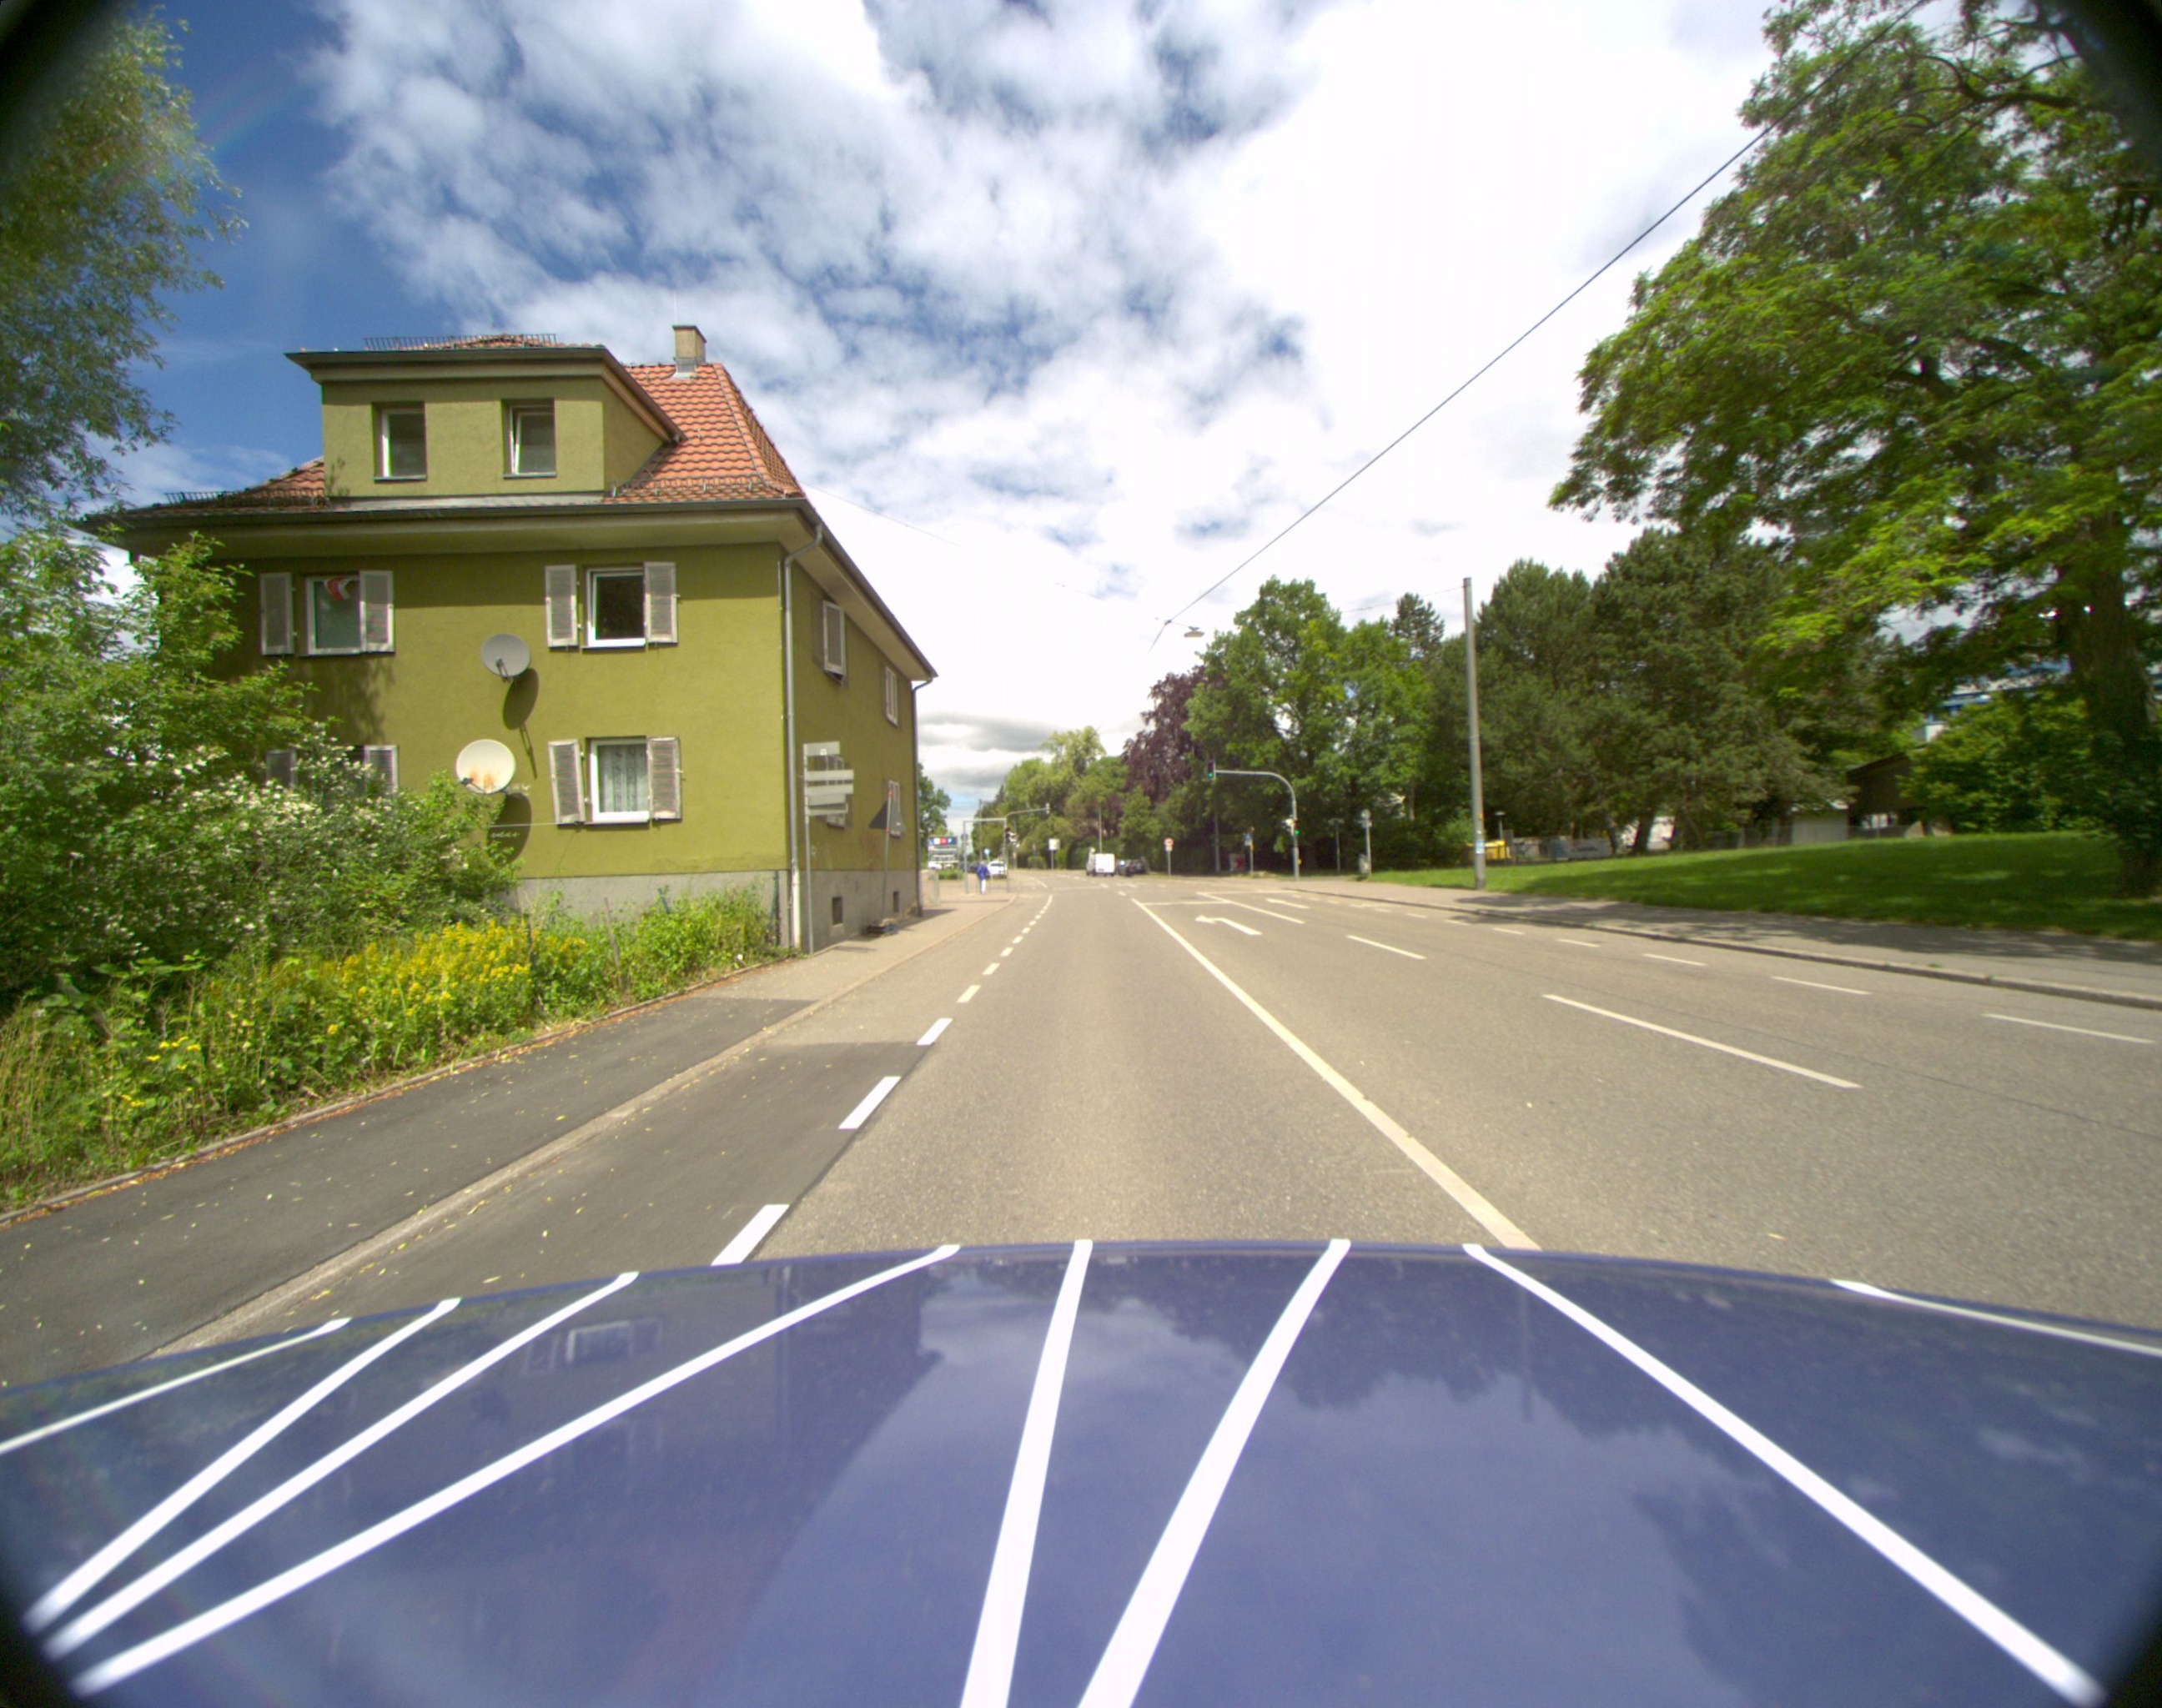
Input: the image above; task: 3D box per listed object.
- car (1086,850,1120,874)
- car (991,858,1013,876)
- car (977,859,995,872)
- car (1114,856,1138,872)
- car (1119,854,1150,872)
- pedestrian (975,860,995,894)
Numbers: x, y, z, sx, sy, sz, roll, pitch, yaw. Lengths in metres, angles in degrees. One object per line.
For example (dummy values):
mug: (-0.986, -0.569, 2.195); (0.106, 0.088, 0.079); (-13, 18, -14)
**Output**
car: (1.906, 0.674, 67.991); (2.000, 2.011, 5.347); (-1, 0, -10)
car: (-7.225, 1.136, 68.987); (1.796, 1.522, 3.918); (0, 0, -9)
car: (-12.230, 1.424, 97.281); (1.707, 1.522, 3.995); (-3, 0, -15)
car: (4.313, 0.905, 72.688); (1.560, 1.404, 3.191); (-3, 1, -9)
car: (4.733, 0.767, 67.893); (1.688, 1.407, 4.398); (-3, 1, -9)
pedestrian: (-4.558, 1.096, 36.123); (0.826, 1.563, 0.987); (-1, 0, -4)
